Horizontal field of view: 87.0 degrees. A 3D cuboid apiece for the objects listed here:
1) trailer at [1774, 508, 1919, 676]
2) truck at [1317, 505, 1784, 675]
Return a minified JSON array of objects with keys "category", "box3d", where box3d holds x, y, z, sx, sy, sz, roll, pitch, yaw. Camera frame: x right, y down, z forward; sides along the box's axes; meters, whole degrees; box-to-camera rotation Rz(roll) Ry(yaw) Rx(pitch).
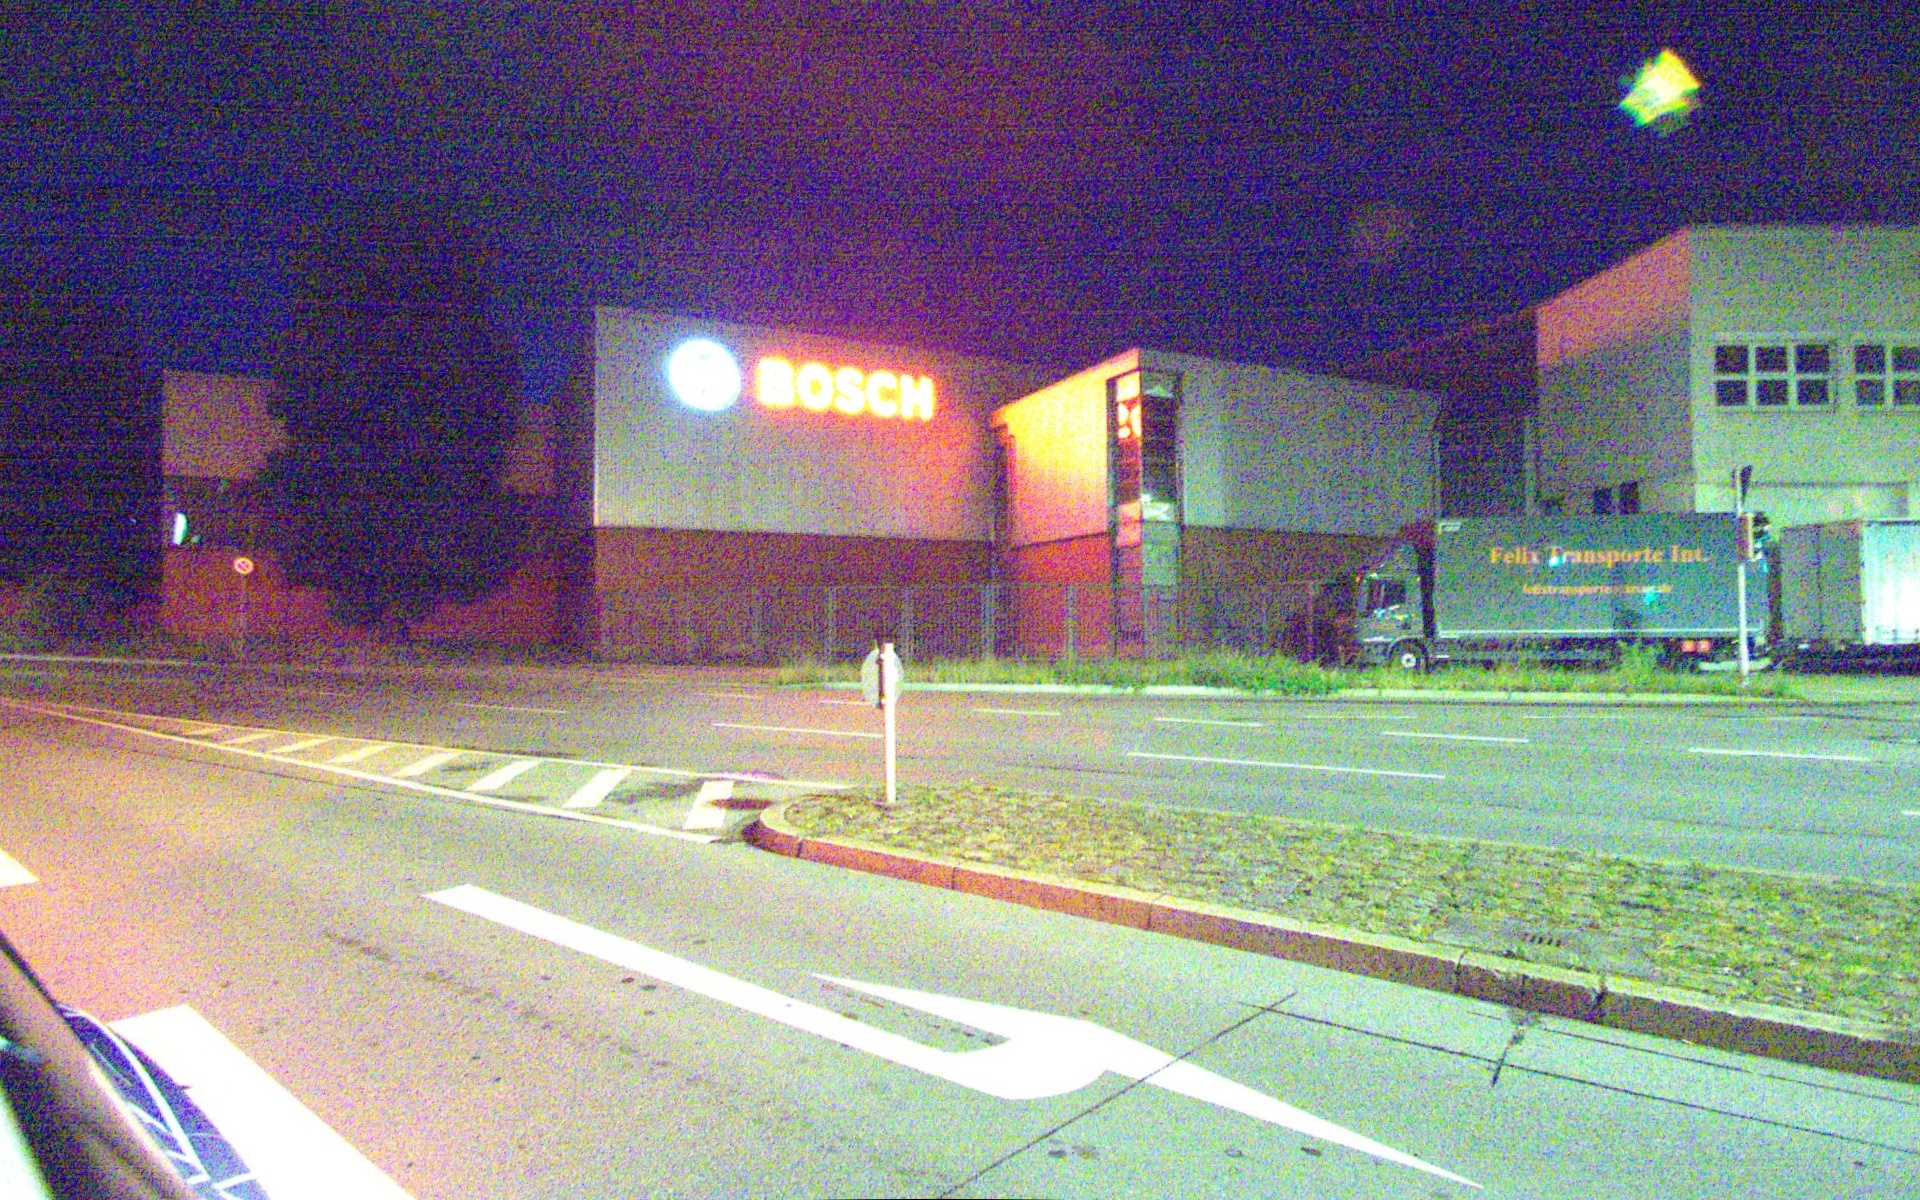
[{"category":"trailer","box3d":[23.724,-0.157,24.047,6.430,3.819,2.619,0,-1,4]},{"category":"truck","box3d":[13.985,-0.223,24.769,9.439,3.825,2.942,0,-1,6]}]
